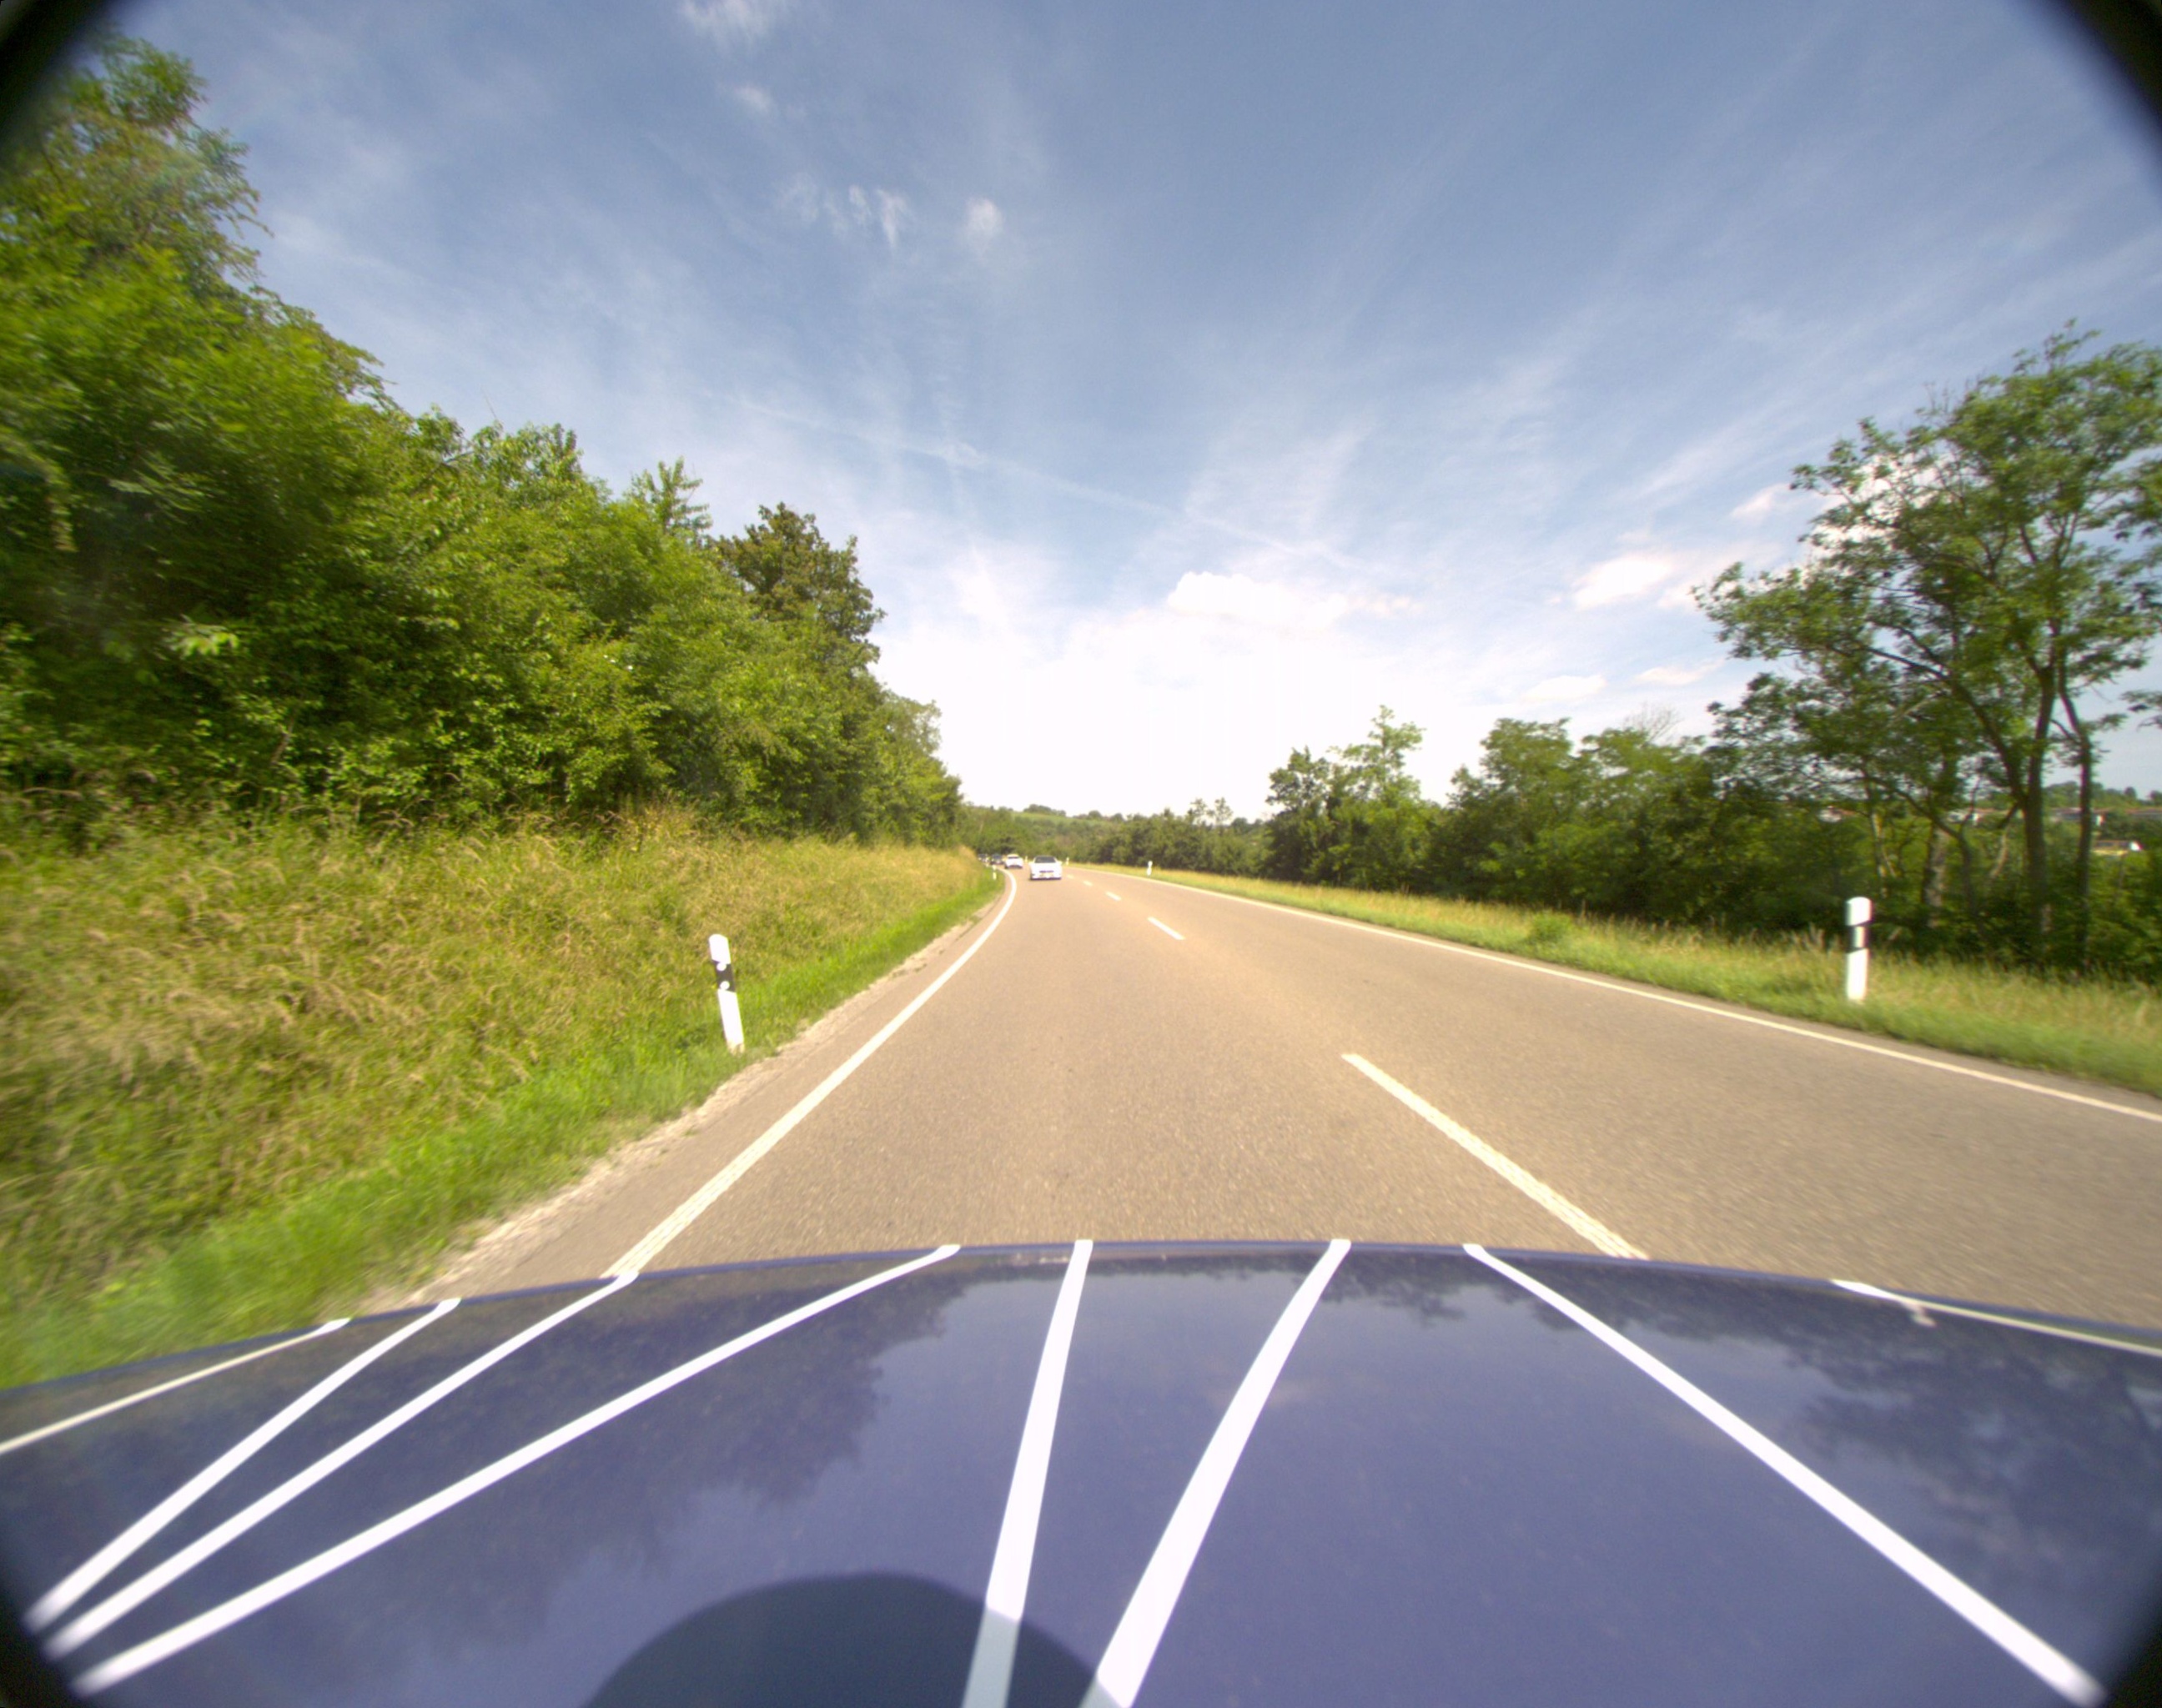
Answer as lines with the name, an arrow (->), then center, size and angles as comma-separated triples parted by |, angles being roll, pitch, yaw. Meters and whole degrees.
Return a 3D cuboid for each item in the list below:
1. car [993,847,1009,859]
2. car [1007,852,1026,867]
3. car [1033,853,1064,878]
car -> -11.387, -0.130, 108.233 | 1.827, 1.510, 3.995 | 3, 0, -13
car -> -7.036, 0.569, 82.748 | 1.867, 1.480, 3.997 | -2, 1, -7
car -> -2.023, 0.690, 46.901 | 1.773, 1.437, 3.998 | -2, 0, -3
